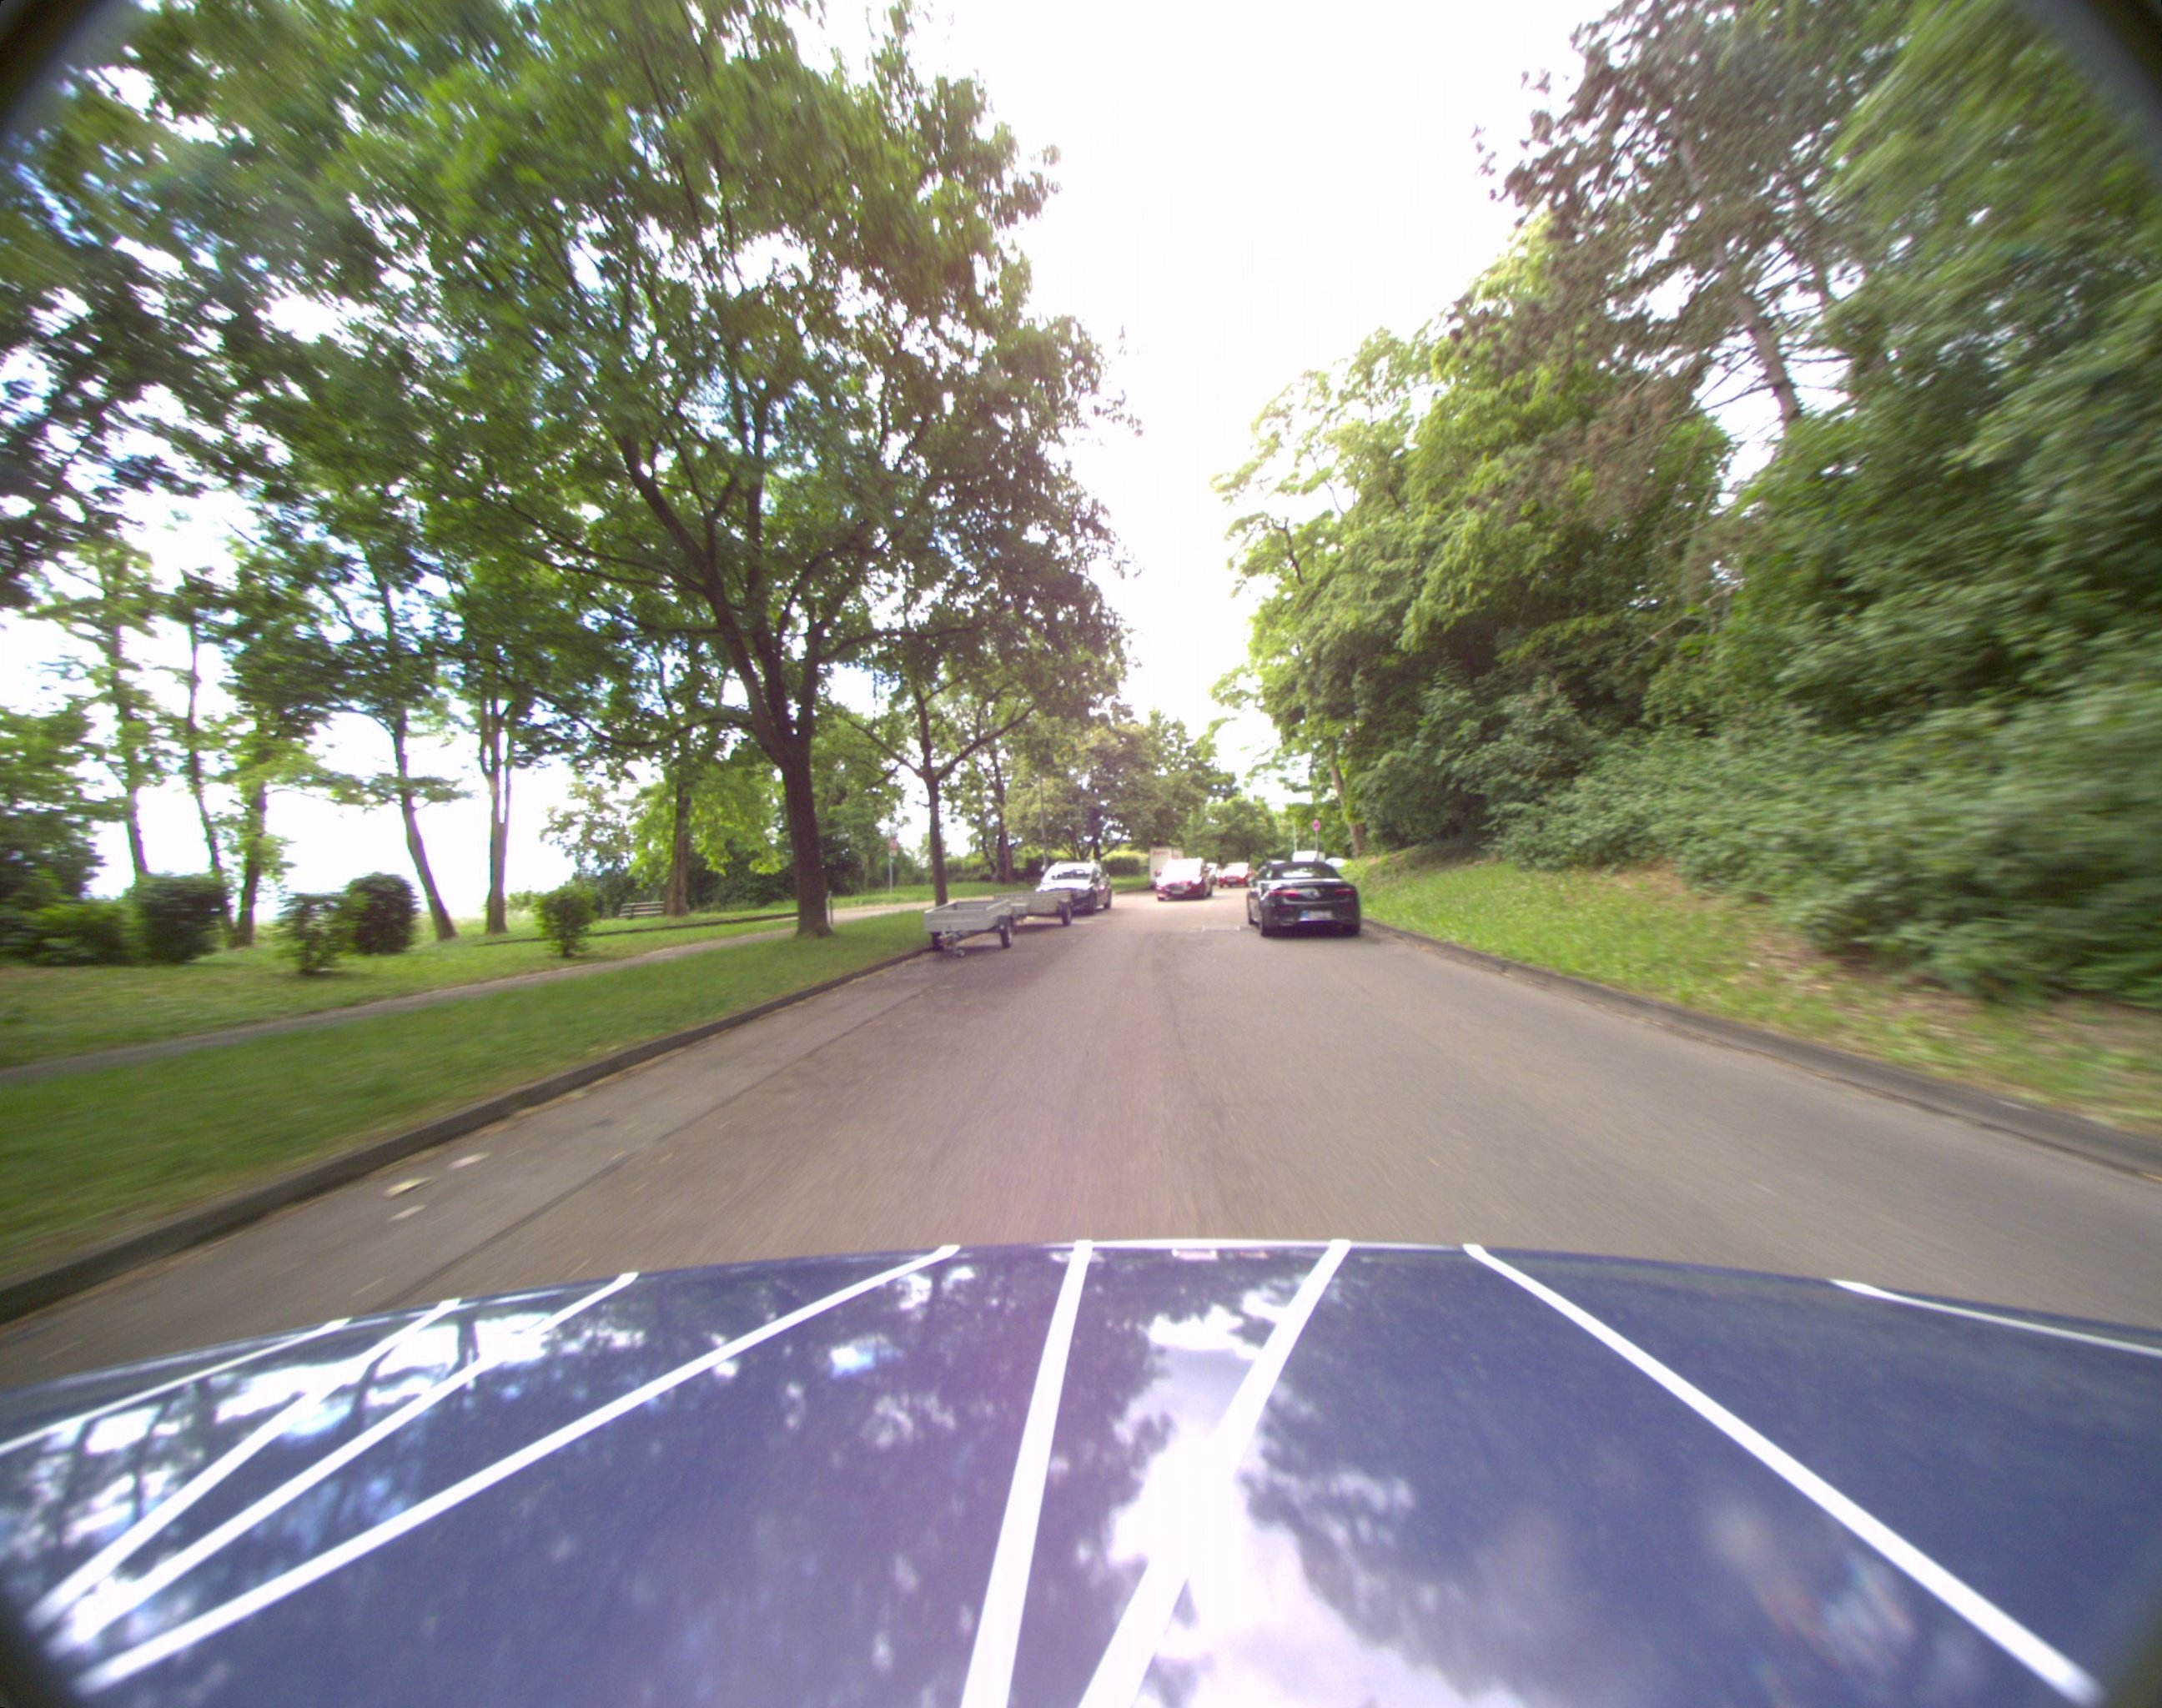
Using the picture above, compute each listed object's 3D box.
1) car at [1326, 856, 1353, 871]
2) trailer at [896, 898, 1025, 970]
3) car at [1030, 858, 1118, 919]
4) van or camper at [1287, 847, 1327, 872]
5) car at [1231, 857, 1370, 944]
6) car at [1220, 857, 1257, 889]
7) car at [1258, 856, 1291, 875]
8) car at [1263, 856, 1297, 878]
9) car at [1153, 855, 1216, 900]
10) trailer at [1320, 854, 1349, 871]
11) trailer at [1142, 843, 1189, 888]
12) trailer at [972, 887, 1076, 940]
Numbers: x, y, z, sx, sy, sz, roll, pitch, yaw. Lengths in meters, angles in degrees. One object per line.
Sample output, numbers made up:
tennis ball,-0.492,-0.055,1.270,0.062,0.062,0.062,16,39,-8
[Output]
car,27.116,0.950,79.544,1.800,1.481,4.008,-1,0,32
trailer,-2.077,1.386,13.883,1.366,0.843,3.280,-4,1,8
car,-0.101,1.030,24.612,1.778,1.652,4.845,-3,0,12
van or camper,24.223,0.550,81.338,2.163,2.521,6.043,-3,-1,35
car,4.366,0.843,15.810,1.795,1.381,4.492,-4,1,4
car,9.489,1.093,45.486,1.864,1.441,4.177,0,5,16
car,18.583,1.073,72.789,1.849,1.633,4.539,-2,-1,30
car,16.608,1.078,63.383,1.919,1.671,4.006,-1,2,26
car,4.365,0.909,31.372,1.996,1.618,4.631,-3,-1,14
trailer,29.668,0.982,88.780,1.773,1.721,4.659,0,1,37
trailer,4.851,0.650,43.209,1.762,2.412,3.892,-1,0,19
trailer,-1.271,1.399,18.619,1.359,0.963,3.897,-4,-1,13
